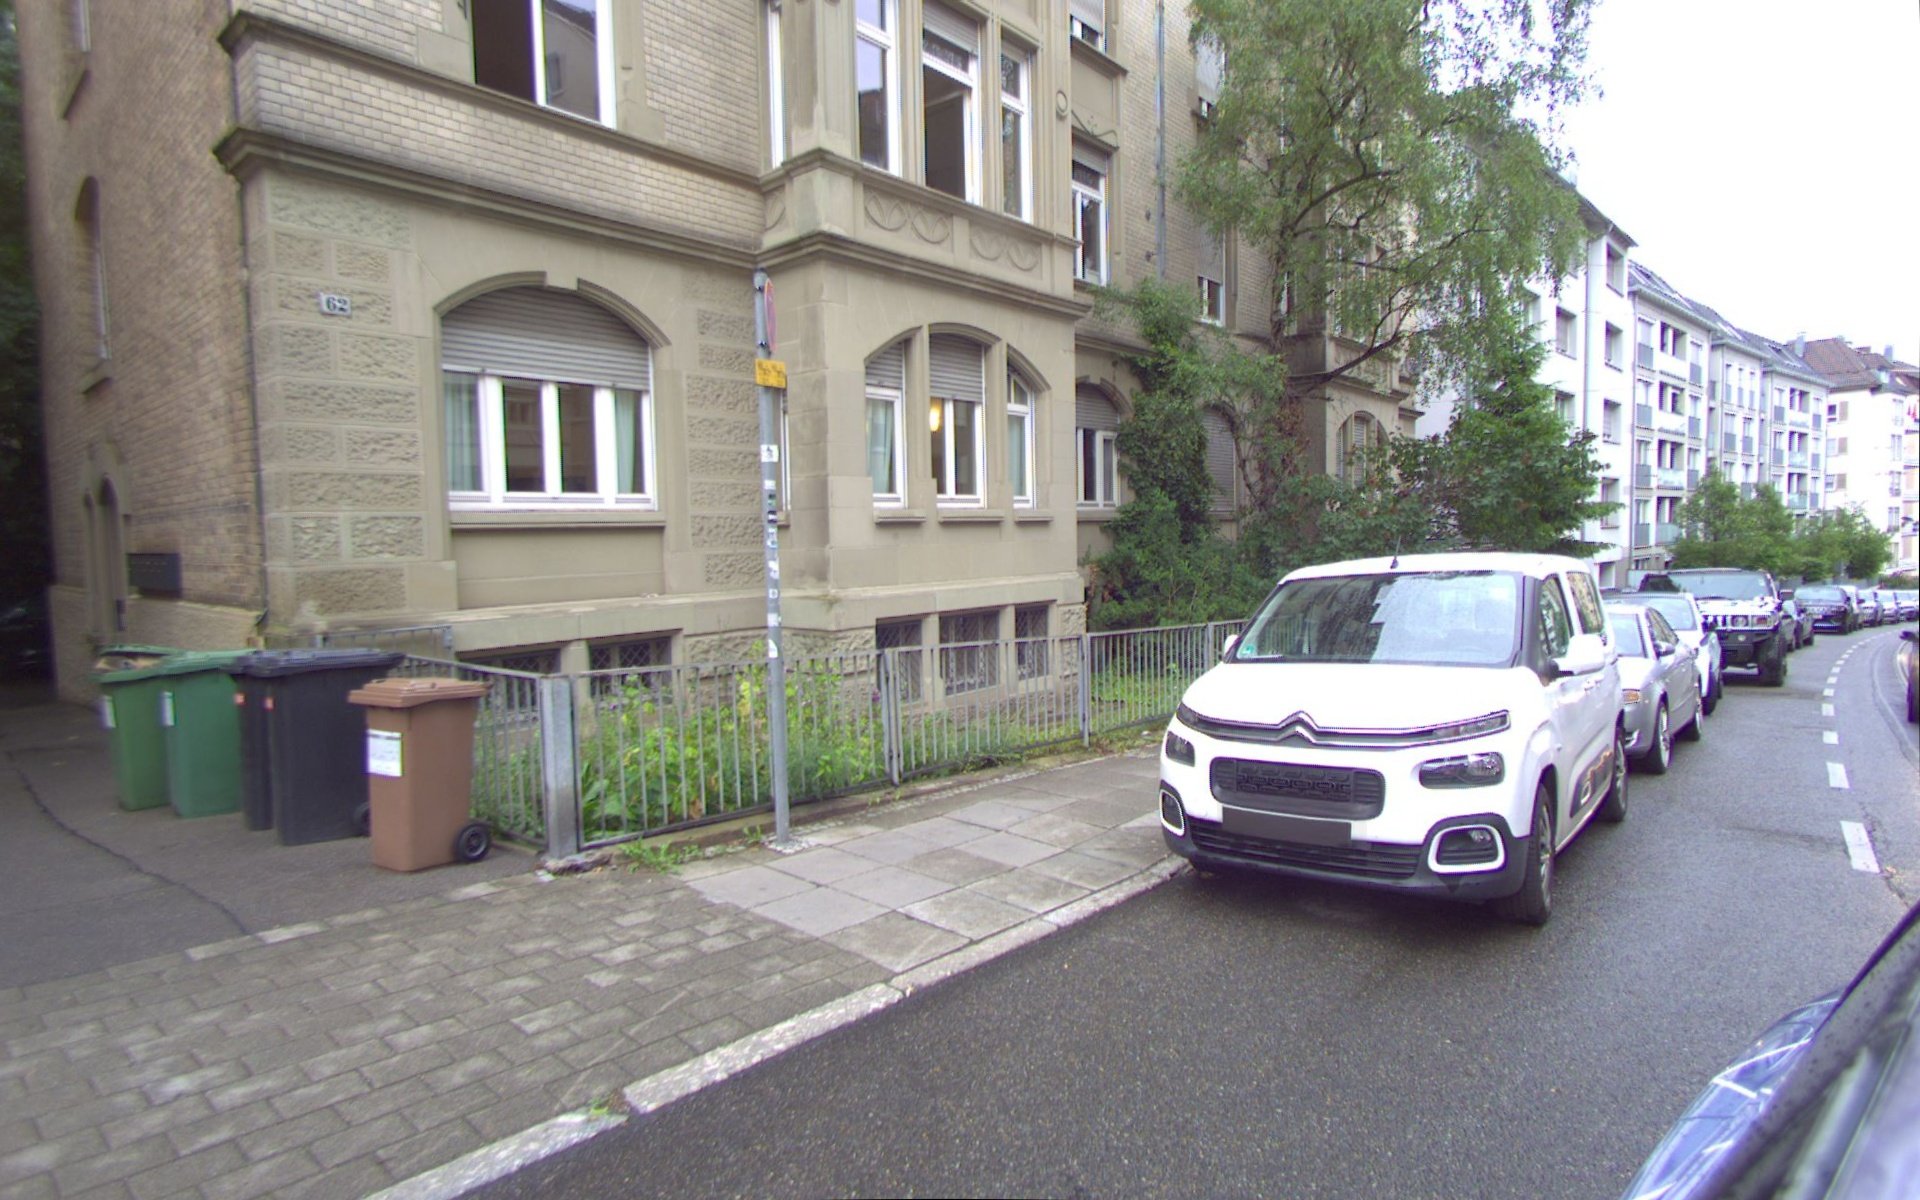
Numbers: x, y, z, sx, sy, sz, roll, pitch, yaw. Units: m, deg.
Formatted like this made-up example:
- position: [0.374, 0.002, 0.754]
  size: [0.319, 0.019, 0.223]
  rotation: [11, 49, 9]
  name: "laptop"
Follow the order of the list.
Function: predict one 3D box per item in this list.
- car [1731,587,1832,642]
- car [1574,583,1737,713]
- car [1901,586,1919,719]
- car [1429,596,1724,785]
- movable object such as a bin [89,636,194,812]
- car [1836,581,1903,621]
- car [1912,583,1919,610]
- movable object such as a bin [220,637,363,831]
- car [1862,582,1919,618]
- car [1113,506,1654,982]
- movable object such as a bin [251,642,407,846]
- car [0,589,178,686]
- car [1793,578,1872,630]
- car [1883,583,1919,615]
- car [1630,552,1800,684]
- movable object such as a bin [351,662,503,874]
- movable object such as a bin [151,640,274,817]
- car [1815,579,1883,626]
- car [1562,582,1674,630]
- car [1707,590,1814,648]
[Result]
- position: [23.662, 0.349, 29.091]
  size: [4.535, 1.455, 1.795]
  rotation: [-1, 1, -45]
  name: "car"
- position: [9.715, 0.560, 14.032]
  size: [1.557, 1.565, 3.533]
  rotation: [-1, 0, 40]
  name: "car"
- position: [12.529, 0.585, 12.103]
  size: [1.734, 1.472, 3.940]
  rotation: [2, 2, 41]
  name: "car"
- position: [6.265, 0.694, 10.029]
  size: [1.747, 1.418, 4.411]
  rotation: [-1, 0, 41]
  name: "car"
- position: [-5.605, 0.821, 6.928]
  size: [0.518, 1.116, 0.471]
  rotation: [-3, -1, 42]
  name: "movable object such as a bin"
- position: [41.401, 0.003, 46.046]
  size: [4.608, 1.676, 1.834]
  rotation: [-1, 2, -43]
  name: "car"
- position: [57.155, -0.206, 59.005]
  size: [4.704, 1.534, 1.862]
  rotation: [-1, 2, -40]
  name: "car"
- position: [-4.077, 0.782, 6.177]
  size: [0.498, 1.075, 0.600]
  rotation: [-3, -1, 41]
  name: "movable object such as a bin"
- position: [45.613, -0.030, 49.524]
  size: [4.587, 1.648, 1.834]
  rotation: [-1, 2, -44]
  name: "car"
- position: [2.843, 0.521, 6.084]
  size: [1.795, 1.787, 4.399]
  rotation: [-1, 0, 40]
  name: "car"
- position: [-3.599, 0.778, 5.773]
  size: [0.653, 1.043, 0.528]
  rotation: [-1, -1, -43]
  name: "movable object such as a bin"
- position: [-17.197, 0.662, 18.816]
  size: [3.933, 1.529, 1.796]
  rotation: [7, -1, -45]
  name: "car"
- position: [32.986, 0.092, 38.227]
  size: [1.943, 1.817, 4.743]
  rotation: [1, 2, 45]
  name: "car"
- position: [49.799, -0.080, 53.103]
  size: [1.975, 1.604, 4.495]
  rotation: [2, 2, 43]
  name: "car"
- position: [13.774, 0.260, 18.318]
  size: [2.126, 2.039, 5.272]
  rotation: [-1, 0, 40]
  name: "car"
- position: [-2.676, 0.809, 5.087]
  size: [0.425, 0.931, 0.529]
  rotation: [3, 2, 38]
  name: "movable object such as a bin"
- position: [-4.927, 0.814, 6.671]
  size: [0.495, 1.075, 0.547]
  rotation: [-3, -1, 41]
  name: "movable object such as a bin"
- position: [37.038, 0.067, 42.121]
  size: [4.398, 1.817, 1.780]
  rotation: [-1, 2, -44]
  name: "car"
- position: [20.933, 0.169, 32.150]
  size: [4.079, 1.444, 1.816]
  rotation: [0, 0, -39]
  name: "car"
- position: [20.405, 0.433, 25.752]
  size: [3.819, 1.355, 1.679]
  rotation: [-1, 1, -44]
  name: "car"
